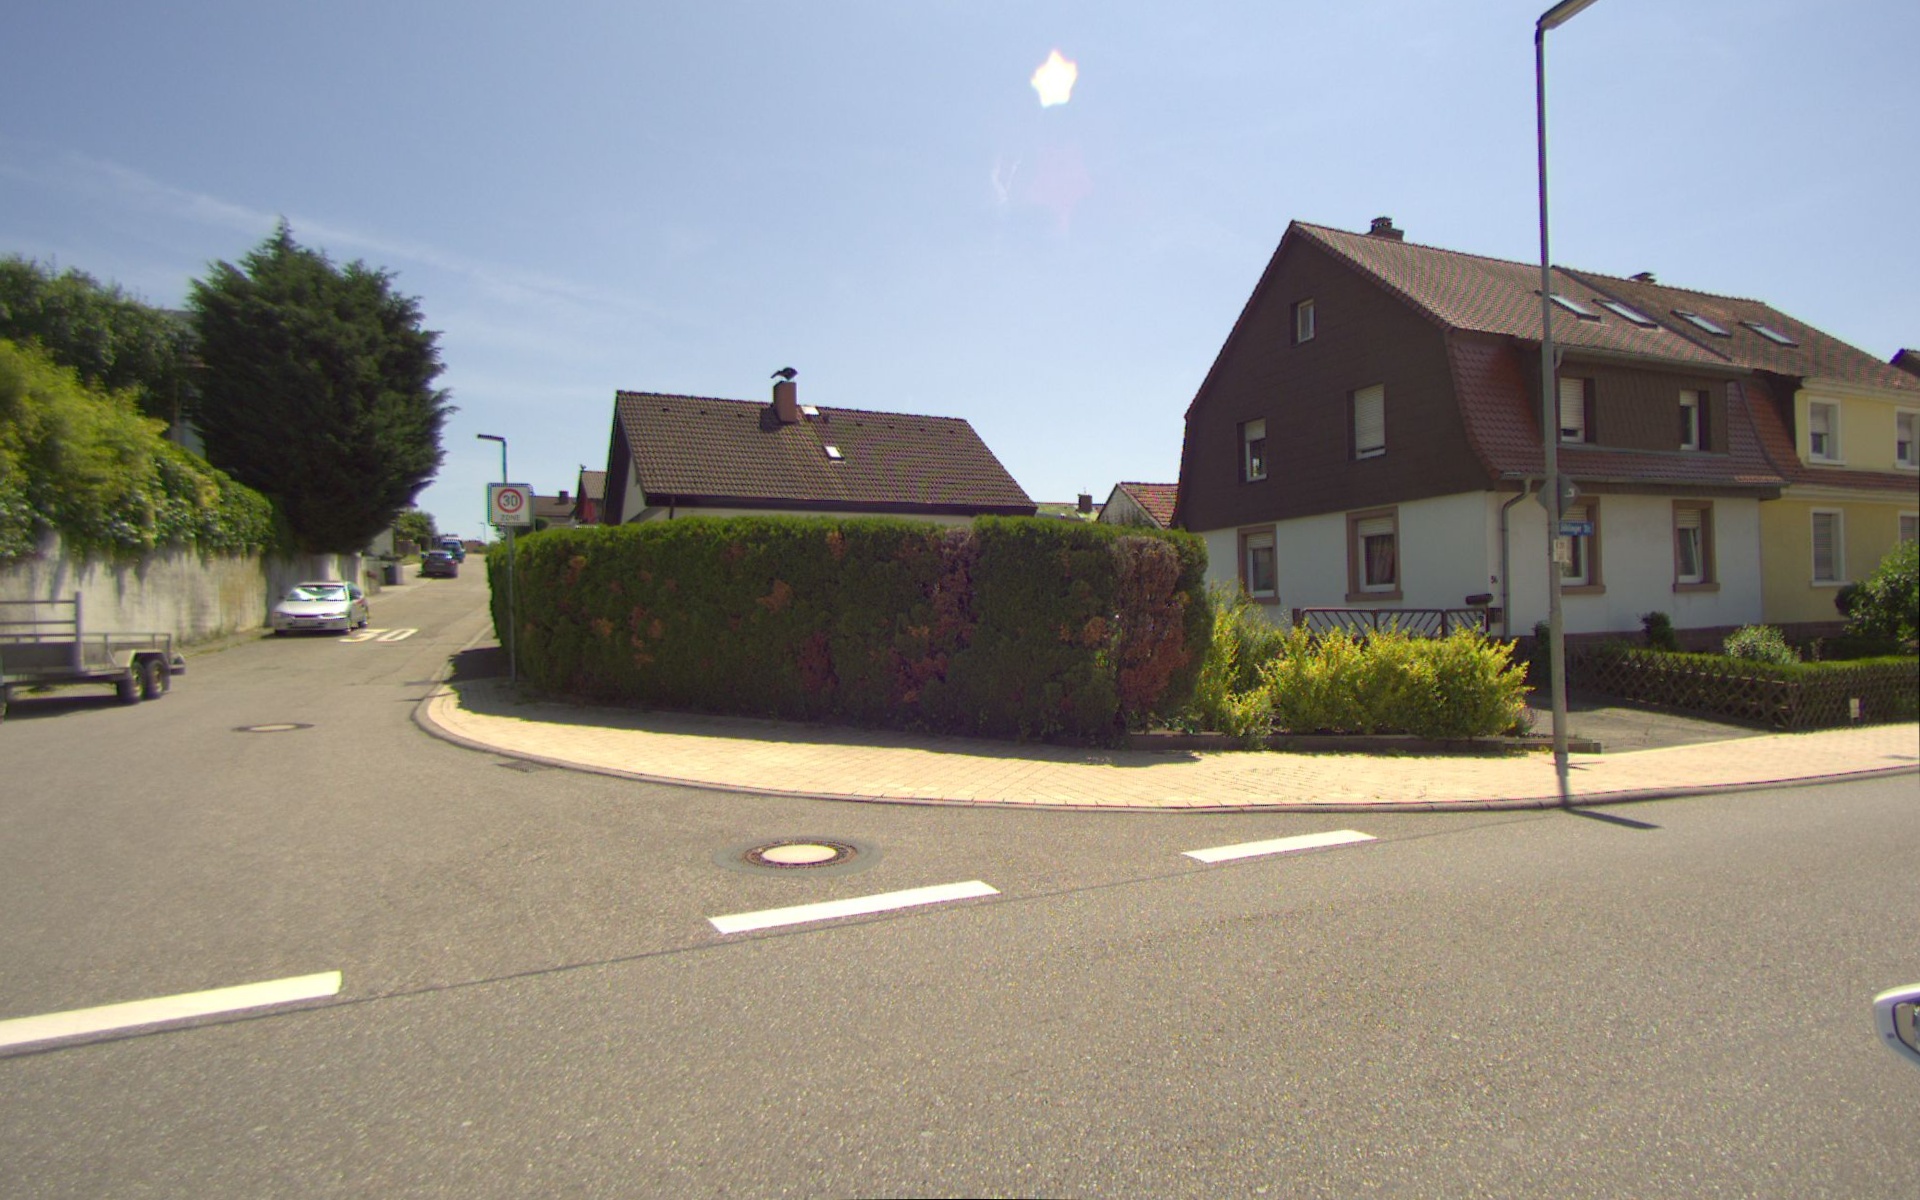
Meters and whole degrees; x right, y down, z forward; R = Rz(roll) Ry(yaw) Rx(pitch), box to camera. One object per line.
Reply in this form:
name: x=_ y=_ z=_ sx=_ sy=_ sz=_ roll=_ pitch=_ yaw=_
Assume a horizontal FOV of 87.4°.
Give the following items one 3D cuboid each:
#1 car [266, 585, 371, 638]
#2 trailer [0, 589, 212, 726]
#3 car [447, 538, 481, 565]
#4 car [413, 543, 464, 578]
car: x=-17.247 y=0.280 z=27.171 sx=1.723 sy=1.207 sz=3.758 roll=1 pitch=2 yaw=-22
trailer: x=-12.018 y=0.632 z=13.342 sx=1.970 sy=1.525 sz=5.055 roll=0 pitch=0 yaw=-20
car: x=-35.907 y=-3.481 z=72.784 sx=1.907 sy=1.847 sz=3.978 roll=1 pitch=2 yaw=-22
car: x=-29.333 y=-2.223 z=56.635 sx=2.161 sy=1.847 sz=4.280 roll=1 pitch=2 yaw=-22
